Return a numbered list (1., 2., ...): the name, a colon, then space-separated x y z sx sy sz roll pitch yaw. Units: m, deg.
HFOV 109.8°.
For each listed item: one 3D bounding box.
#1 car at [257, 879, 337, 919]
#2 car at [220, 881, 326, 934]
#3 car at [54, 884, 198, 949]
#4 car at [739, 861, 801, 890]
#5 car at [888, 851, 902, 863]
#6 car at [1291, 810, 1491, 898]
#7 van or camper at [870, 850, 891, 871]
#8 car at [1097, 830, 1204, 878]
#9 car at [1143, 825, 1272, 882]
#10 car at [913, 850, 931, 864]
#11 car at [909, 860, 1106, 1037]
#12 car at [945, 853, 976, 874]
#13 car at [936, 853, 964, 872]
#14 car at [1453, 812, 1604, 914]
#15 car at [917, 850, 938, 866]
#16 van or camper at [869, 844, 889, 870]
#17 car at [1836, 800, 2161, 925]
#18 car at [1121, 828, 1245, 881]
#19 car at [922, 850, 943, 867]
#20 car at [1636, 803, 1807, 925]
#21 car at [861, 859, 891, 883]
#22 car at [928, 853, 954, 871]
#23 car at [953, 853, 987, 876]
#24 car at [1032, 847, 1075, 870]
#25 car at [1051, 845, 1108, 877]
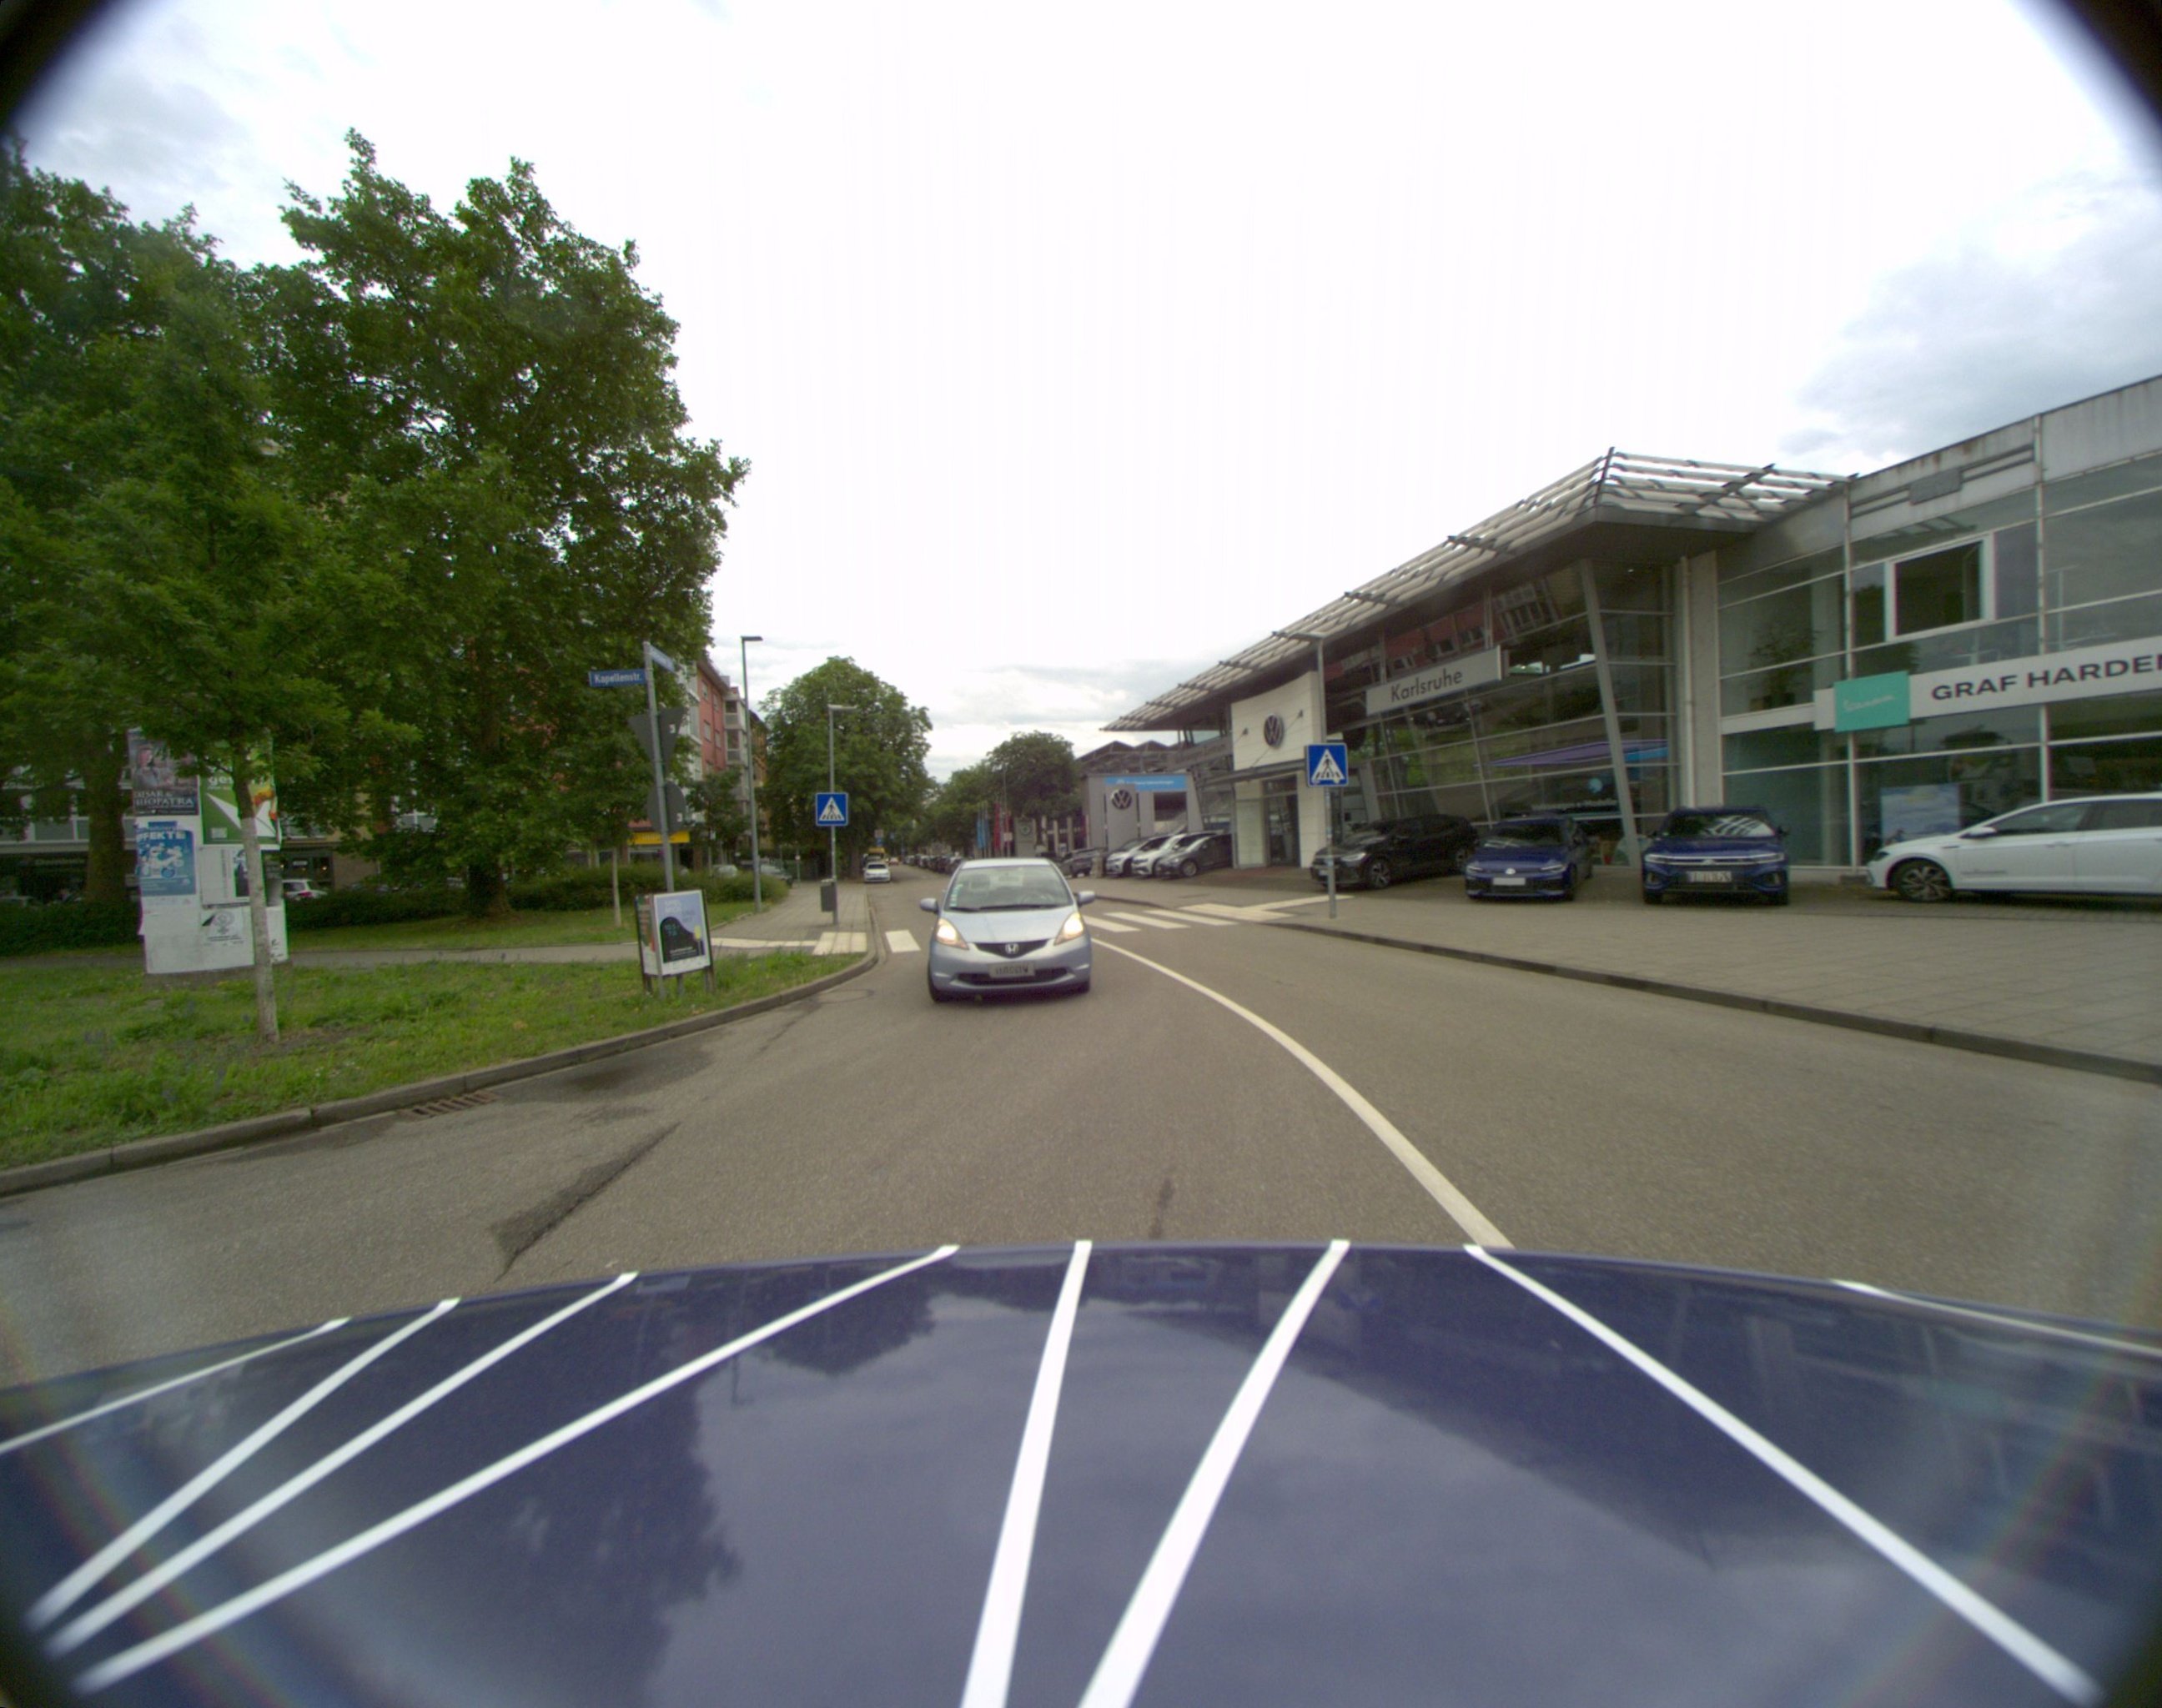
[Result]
1. car: -34.884 1.962 33.931 1.864 1.539 4.464 -4 1 -39
2. car: -28.139 1.797 26.605 1.864 1.539 4.464 -4 1 -39
3. car: -30.564 1.923 24.497 1.864 1.712 4.464 -4 1 -39
4. car: -18.671 1.224 45.516 1.864 1.539 4.463 -4 3 -44
5. car: -33.467 0.455 136.655 2.024 1.974 4.775 -5 2 -18
6. car: 7.779 -0.034 19.082 4.512 1.623 1.858 -7 1 -22
7. van or camper: -21.103 0.664 79.788 2.001 2.002 3.994 -3 1 -15
8. car: 3.213 0.008 35.394 4.477 1.690 1.867 -7 1 -16
9. car: 4.960 -0.028 29.900 4.477 1.687 1.895 -7 1 -17
10. car: -23.712 0.434 113.341 2.024 1.974 4.775 -5 2 -18
11. car: -0.922 0.896 9.226 1.754 1.458 4.095 -4 1 -7
12. car: -10.666 0.779 66.854 1.862 1.614 4.468 -5 2 -18
13. car: -12.377 0.787 71.805 1.862 1.614 4.468 -5 2 -18
14. car: 8.931 0.090 14.979 1.853 1.496 4.345 -2 4 39
15. car: -19.988 0.509 98.941 2.024 1.974 4.775 -5 2 -18
16. van or camper: -22.460 0.346 84.436 2.001 2.756 3.994 -3 1 -15
17. car: 13.109 0.059 9.954 1.784 1.444 4.258 -3 1 -13
18. car: 4.335 -0.008 32.555 4.777 1.690 1.859 -7 1 -16
19. car: -18.324 0.516 93.445 1.862 1.974 4.468 -5 2 -18
20. car: 10.791 0.059 12.818 1.896 1.554 4.226 -2 4 41
21. car: -14.309 1.140 52.980 1.862 1.539 4.469 -2 1 -16
22. car: -14.046 0.803 76.230 1.862 1.614 4.468 -5 2 -18
23. car: -9.005 0.792 61.259 1.862 1.614 4.468 -5 2 -18
24. car: -2.118 0.318 56.762 1.900 1.539 4.468 -5 2 -18
25. car: -0.160 0.374 42.082 1.921 1.554 4.008 -5 1 -18
